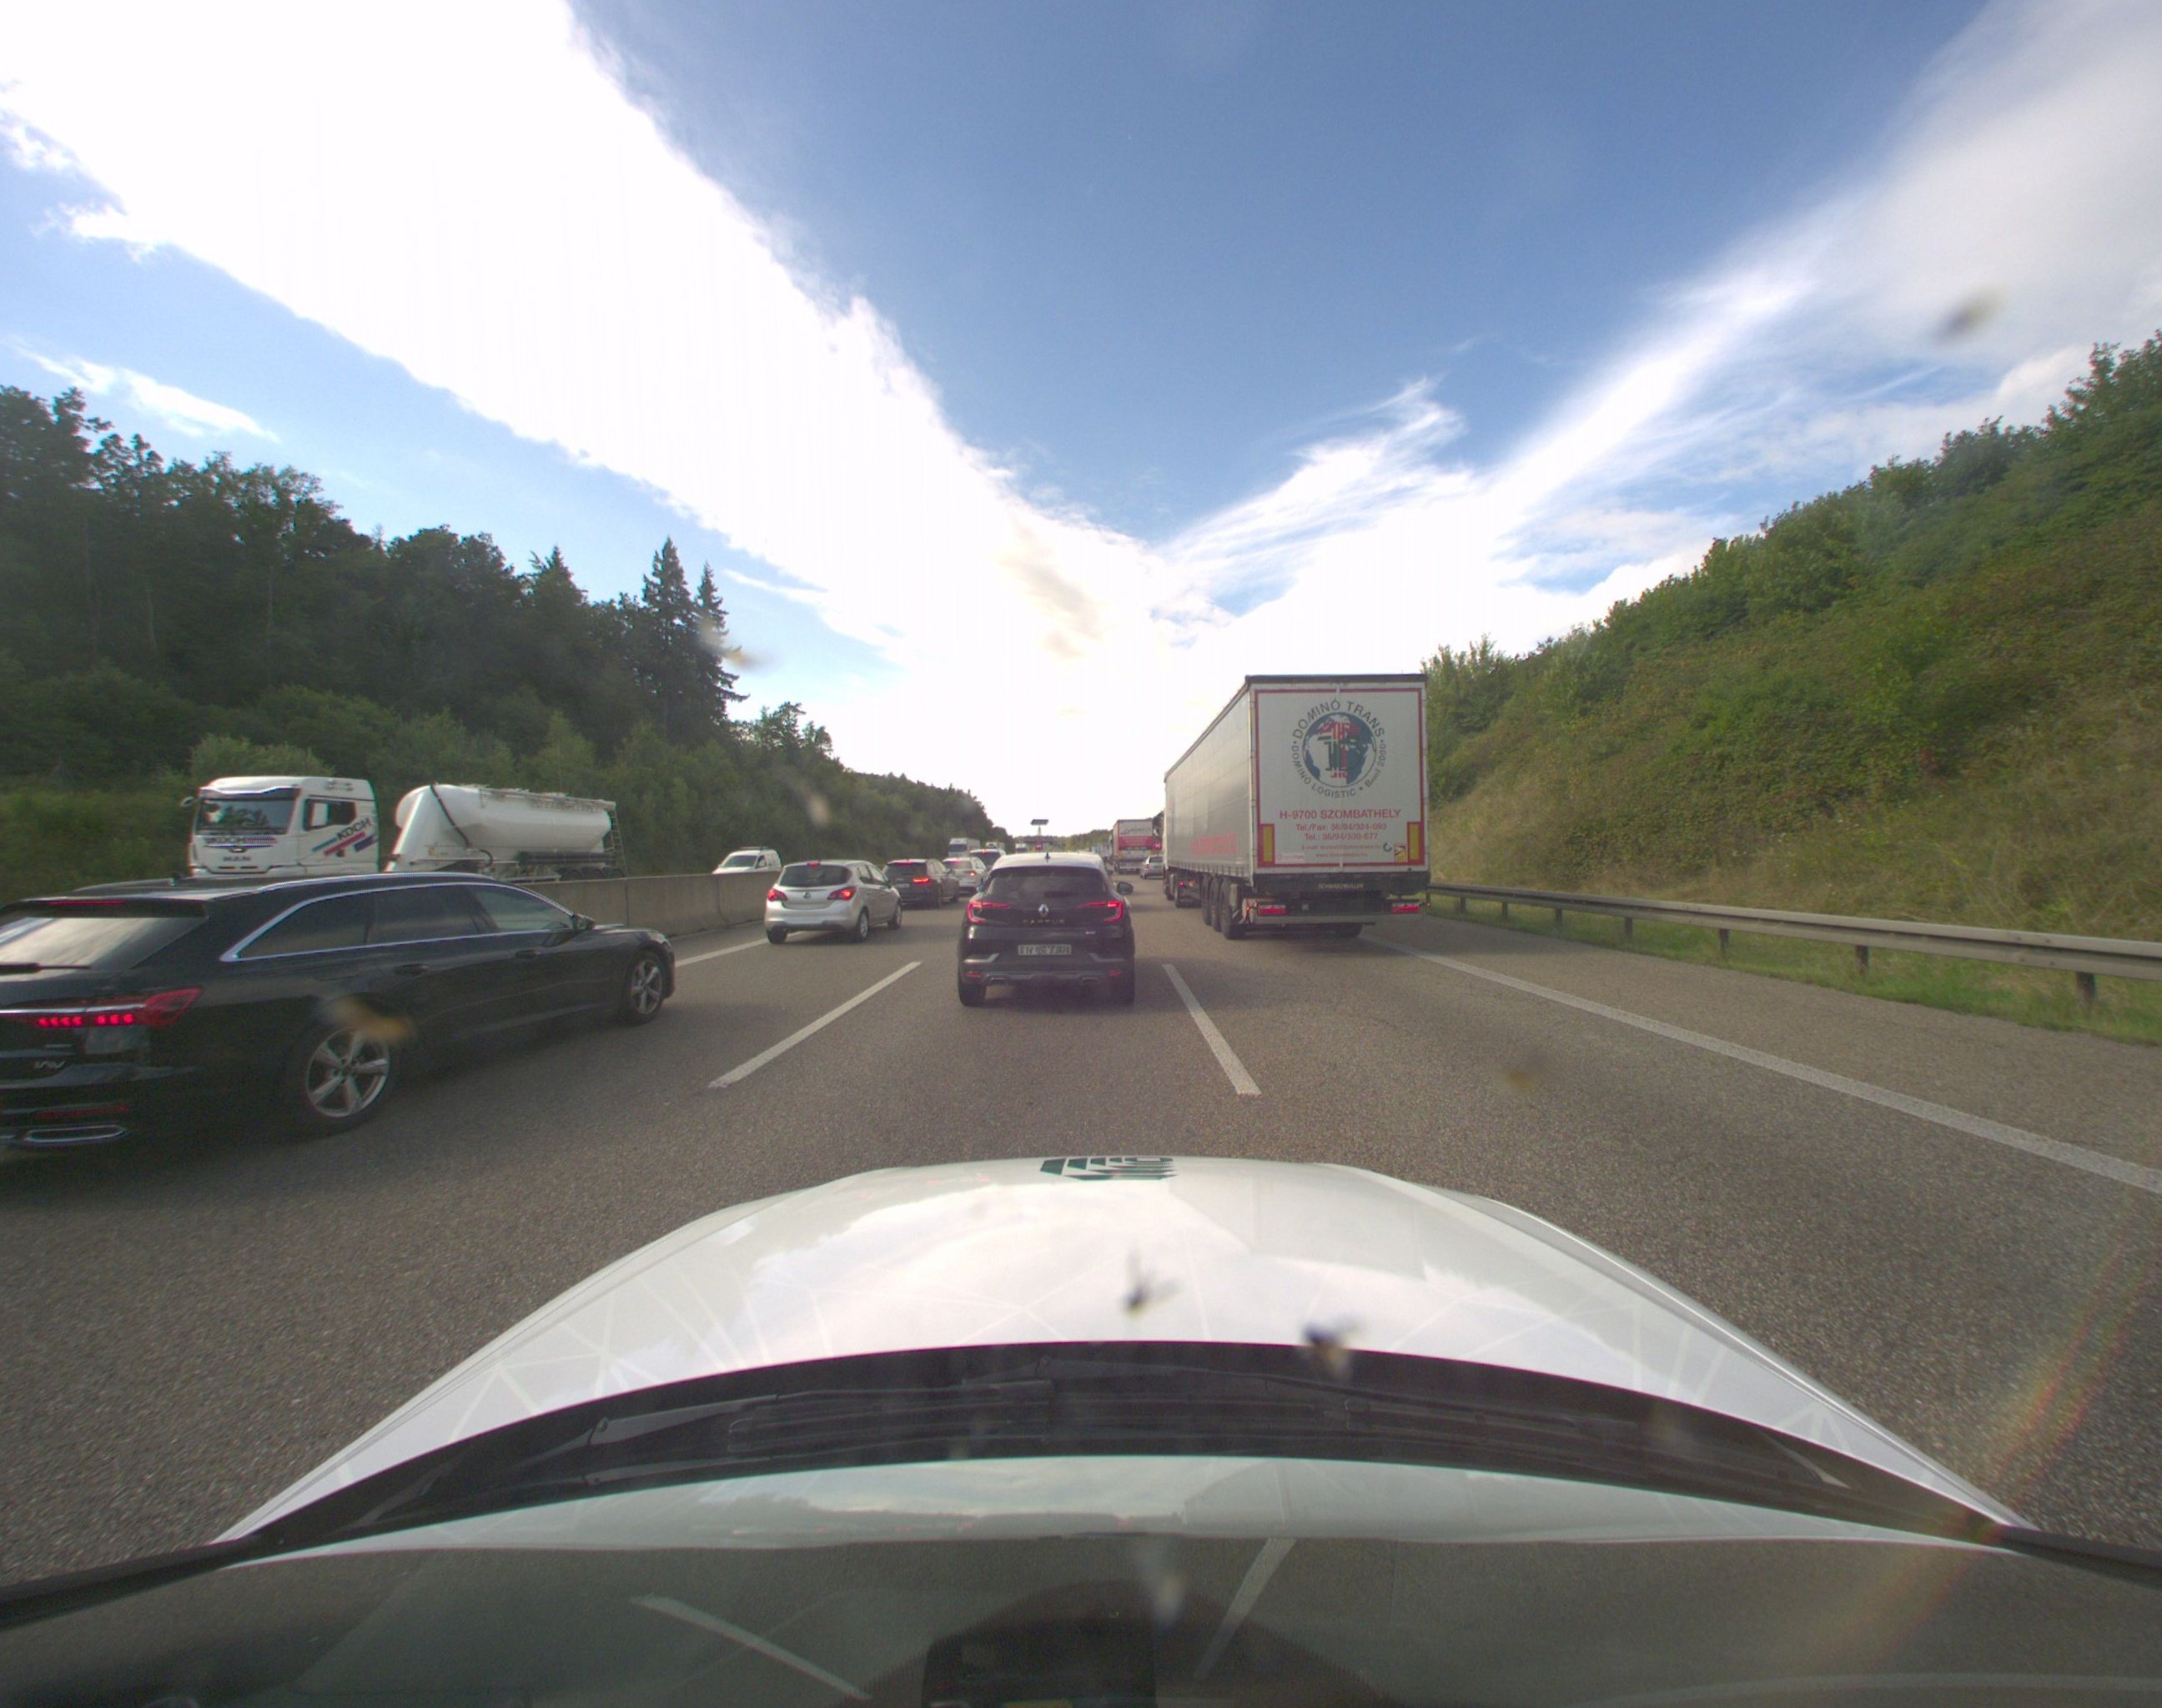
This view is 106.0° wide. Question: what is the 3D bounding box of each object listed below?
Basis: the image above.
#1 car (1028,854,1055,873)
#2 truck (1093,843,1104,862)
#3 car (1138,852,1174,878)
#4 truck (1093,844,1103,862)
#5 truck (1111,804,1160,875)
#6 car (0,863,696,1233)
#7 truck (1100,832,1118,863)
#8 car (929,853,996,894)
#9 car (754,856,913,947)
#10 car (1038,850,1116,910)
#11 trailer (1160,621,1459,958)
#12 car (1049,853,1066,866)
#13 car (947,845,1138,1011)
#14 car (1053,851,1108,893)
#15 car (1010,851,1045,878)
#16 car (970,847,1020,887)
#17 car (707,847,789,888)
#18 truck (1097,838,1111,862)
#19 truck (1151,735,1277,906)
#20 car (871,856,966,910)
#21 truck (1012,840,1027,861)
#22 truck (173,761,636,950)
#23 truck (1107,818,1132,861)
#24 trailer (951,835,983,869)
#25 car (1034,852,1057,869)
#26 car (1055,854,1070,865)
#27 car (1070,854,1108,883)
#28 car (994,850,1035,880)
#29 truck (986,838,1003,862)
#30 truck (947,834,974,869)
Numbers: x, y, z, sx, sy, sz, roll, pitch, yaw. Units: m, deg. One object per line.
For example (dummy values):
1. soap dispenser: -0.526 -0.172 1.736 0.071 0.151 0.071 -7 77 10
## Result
1. car: -3.369 0.835 70.119 1.986 1.613 4.001 0 -1 1
2. truck: 5.099 -0.366 232.816 3.155 5.505 12.741 0 -1 2
3. car: 4.504 0.660 49.158 1.799 1.533 3.925 0 -1 0
4. truck: 5.323 -0.211 251.345 3.155 5.505 12.741 0 -1 2
5. truck: 4.109 -0.975 64.070 3.352 5.044 12.741 0 -1 2
6. car: -4.918 0.835 5.815 1.875 1.471 4.854 0 0 2
7. truck: 5.197 -1.071 149.000 3.153 5.505 12.747 0 -1 3
8. car: -4.505 0.726 31.554 1.798 1.461 4.310 -1 0 2
9. car: -4.582 0.808 15.719 1.741 1.465 4.041 -1 0 1
10. car: -0.052 0.686 22.654 1.986 1.514 4.001 0 -1 1
11. trailer: 3.815 -0.911 17.973 2.992 4.661 13.290 0 0 1
12. car: -3.038 0.696 105.167 1.986 1.613 4.001 -1 0 1
13. car: -0.251 0.707 9.702 1.797 1.552 4.003 -1 0 3
14. car: 0.033 0.681 31.769 1.986 1.514 4.001 0 -1 1
15. car: -3.514 0.702 54.284 1.986 1.722 4.001 0 -1 1
16. car: -4.008 0.590 38.653 1.905 1.789 4.416 0 -1 0
17. car: -14.735 0.575 36.314 1.846 1.712 4.324 0 0 1
18. truck: 5.201 -0.782 183.365 3.155 5.159 12.741 0 -1 2
19. truck: 3.911 -0.928 25.386 2.987 4.667 5.939 -1 0 1
20. car: -4.836 0.815 24.894 1.836 1.456 4.749 0 0 1
21. truck: -14.806 -0.810 196.847 3.078 5.101 7.141 0 -1 0
22. truck: -19.433 0.082 25.778 2.922 4.354 13.910 0 -1 0
23. truck: 5.203 -1.852 111.591 3.155 5.505 12.741 0 -1 2
24. trailer: -18.169 -0.252 130.954 3.032 5.281 13.835 0 -1 1
25. car: -3.550 0.624 82.261 1.986 1.613 4.001 -1 0 1
26. car: -2.658 0.798 118.840 1.986 1.613 4.001 -1 0 1
27. car: 0.466 0.791 45.086 1.986 1.514 4.001 0 -1 1
28. car: -3.751 0.638 46.537 1.848 1.641 3.927 0 -1 2
29. truck: -17.727 -0.853 166.512 2.922 4.858 4.765 0 -1 0
30. truck: -18.270 -0.345 123.883 3.029 5.253 6.883 0 -1 0
